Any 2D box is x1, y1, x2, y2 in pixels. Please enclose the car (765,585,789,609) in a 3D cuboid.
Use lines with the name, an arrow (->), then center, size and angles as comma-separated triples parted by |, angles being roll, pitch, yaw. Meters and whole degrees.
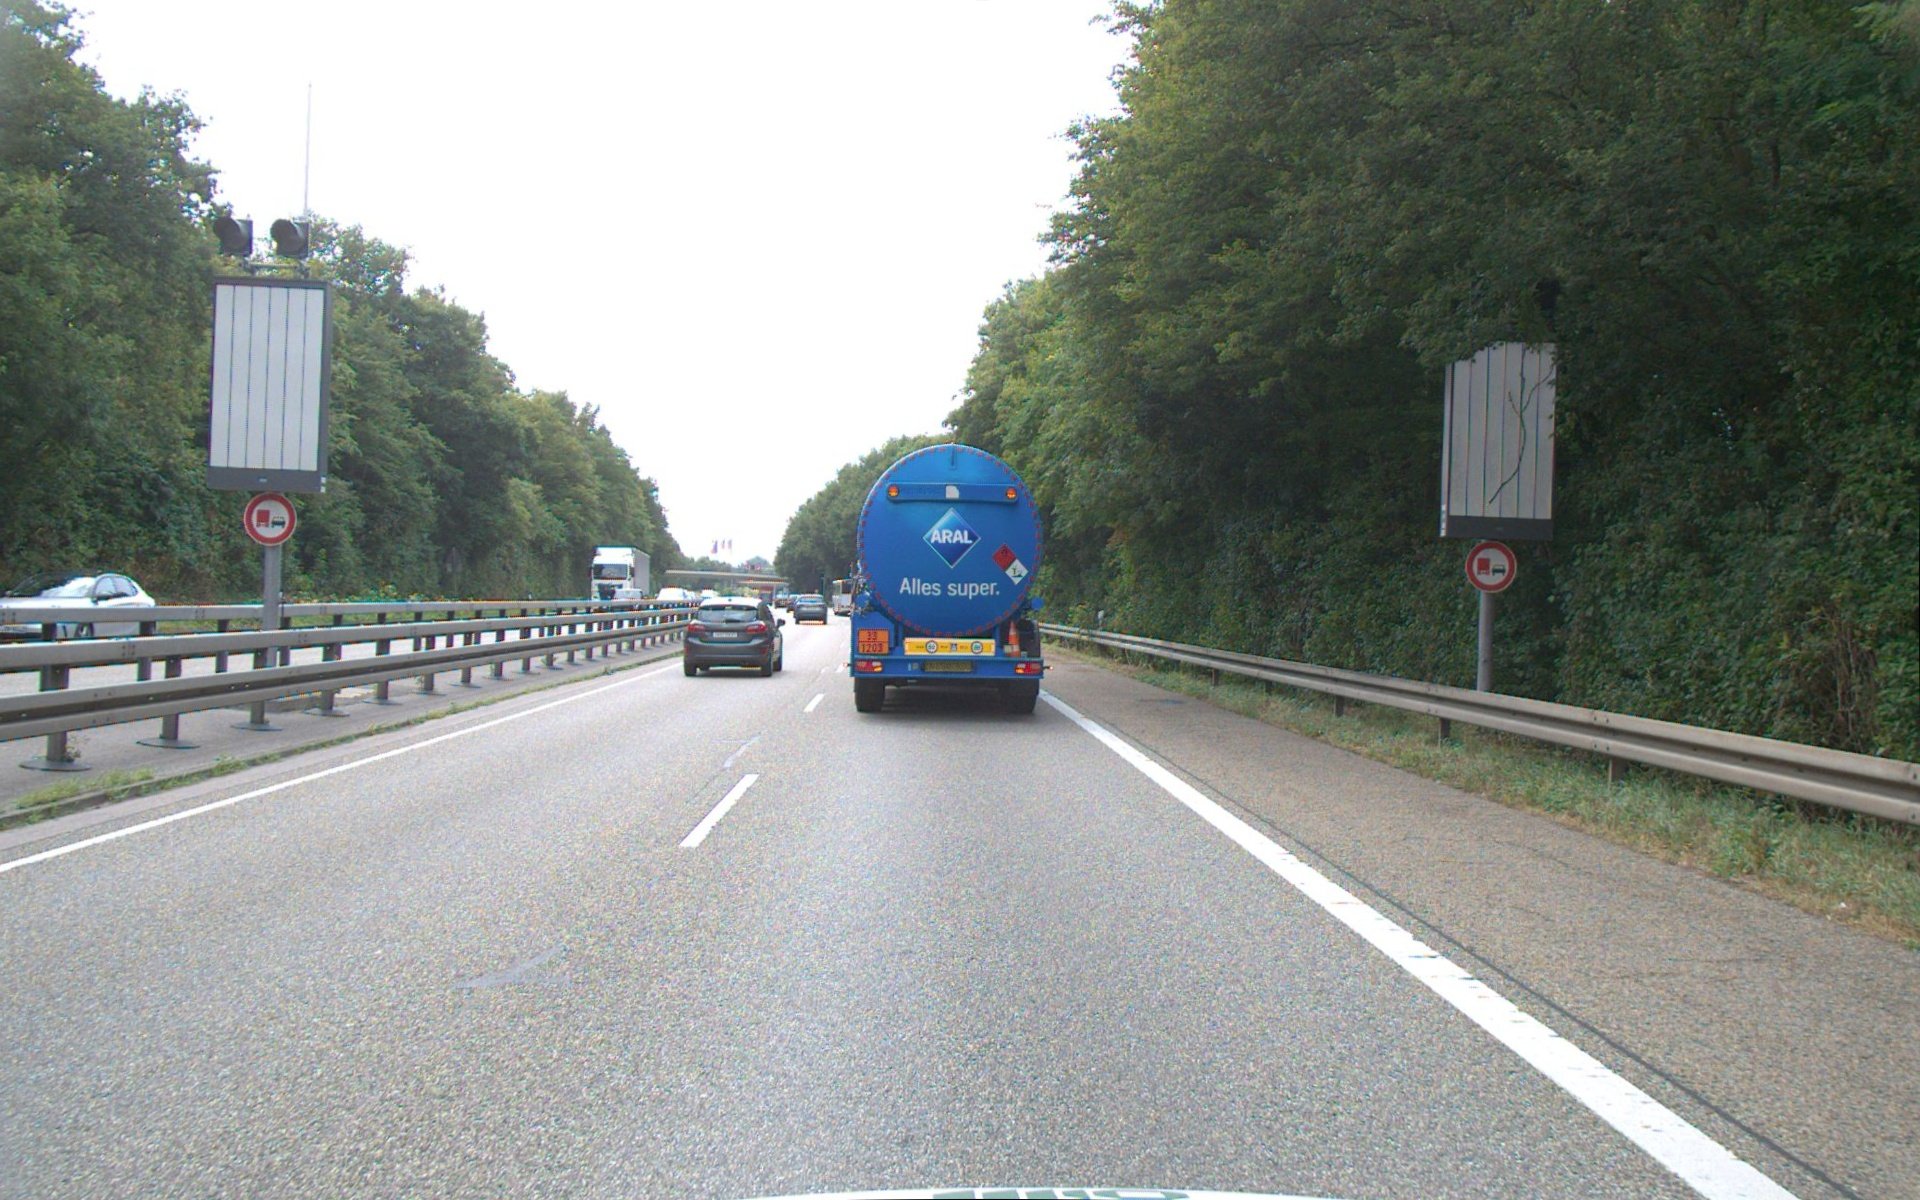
car -> -15.974, -0.248, 144.382 | 1.956, 2.049, 3.993 | 0, 0, -8

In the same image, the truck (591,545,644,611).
truck -> -22.016, -1.392, 106.514 | 2.639, 4.134, 5.317 | 0, 0, -5

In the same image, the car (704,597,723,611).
car -> -25.595, 0.422, 171.610 | 1.611, 1.413, 4.287 | 0, 0, -4

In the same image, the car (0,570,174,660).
car -> -16.073, 0.252, 29.864 | 1.954, 1.507, 4.129 | 0, 0, -3

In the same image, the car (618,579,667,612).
car -> -14.518, -0.211, 75.830 | 1.674, 1.472, 3.774 | 0, 0, -3

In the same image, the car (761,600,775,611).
car -> -27.939, 0.737, 241.064 | 1.955, 1.579, 3.995 | 0, 0, -6

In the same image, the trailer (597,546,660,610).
trailer -> -22.504, -1.382, 113.011 | 2.611, 4.117, 12.861 | 0, 0, -4

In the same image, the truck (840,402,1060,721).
truck -> -0.190, -0.485, 24.174 | 2.699, 3.914, 7.686 | 0, 0, -1

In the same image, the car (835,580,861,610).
car -> -8.613, -0.366, 126.815 | 1.954, 2.284, 3.996 | 0, 0, -5

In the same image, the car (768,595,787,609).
car -> -20.012, 0.231, 181.508 | 1.917, 1.595, 3.996 | 0, 0, -5

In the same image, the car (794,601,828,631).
car -> -8.192, 0.863, 91.280 | 1.790, 1.637, 4.164 | 0, 0, -4

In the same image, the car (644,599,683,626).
car -> -17.540, 0.734, 97.977 | 1.756, 1.576, 4.126 | 0, 0, -3

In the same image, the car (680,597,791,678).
car -> -4.341, 0.701, 32.612 | 1.790, 1.483, 4.636 | 0, 0, -3
